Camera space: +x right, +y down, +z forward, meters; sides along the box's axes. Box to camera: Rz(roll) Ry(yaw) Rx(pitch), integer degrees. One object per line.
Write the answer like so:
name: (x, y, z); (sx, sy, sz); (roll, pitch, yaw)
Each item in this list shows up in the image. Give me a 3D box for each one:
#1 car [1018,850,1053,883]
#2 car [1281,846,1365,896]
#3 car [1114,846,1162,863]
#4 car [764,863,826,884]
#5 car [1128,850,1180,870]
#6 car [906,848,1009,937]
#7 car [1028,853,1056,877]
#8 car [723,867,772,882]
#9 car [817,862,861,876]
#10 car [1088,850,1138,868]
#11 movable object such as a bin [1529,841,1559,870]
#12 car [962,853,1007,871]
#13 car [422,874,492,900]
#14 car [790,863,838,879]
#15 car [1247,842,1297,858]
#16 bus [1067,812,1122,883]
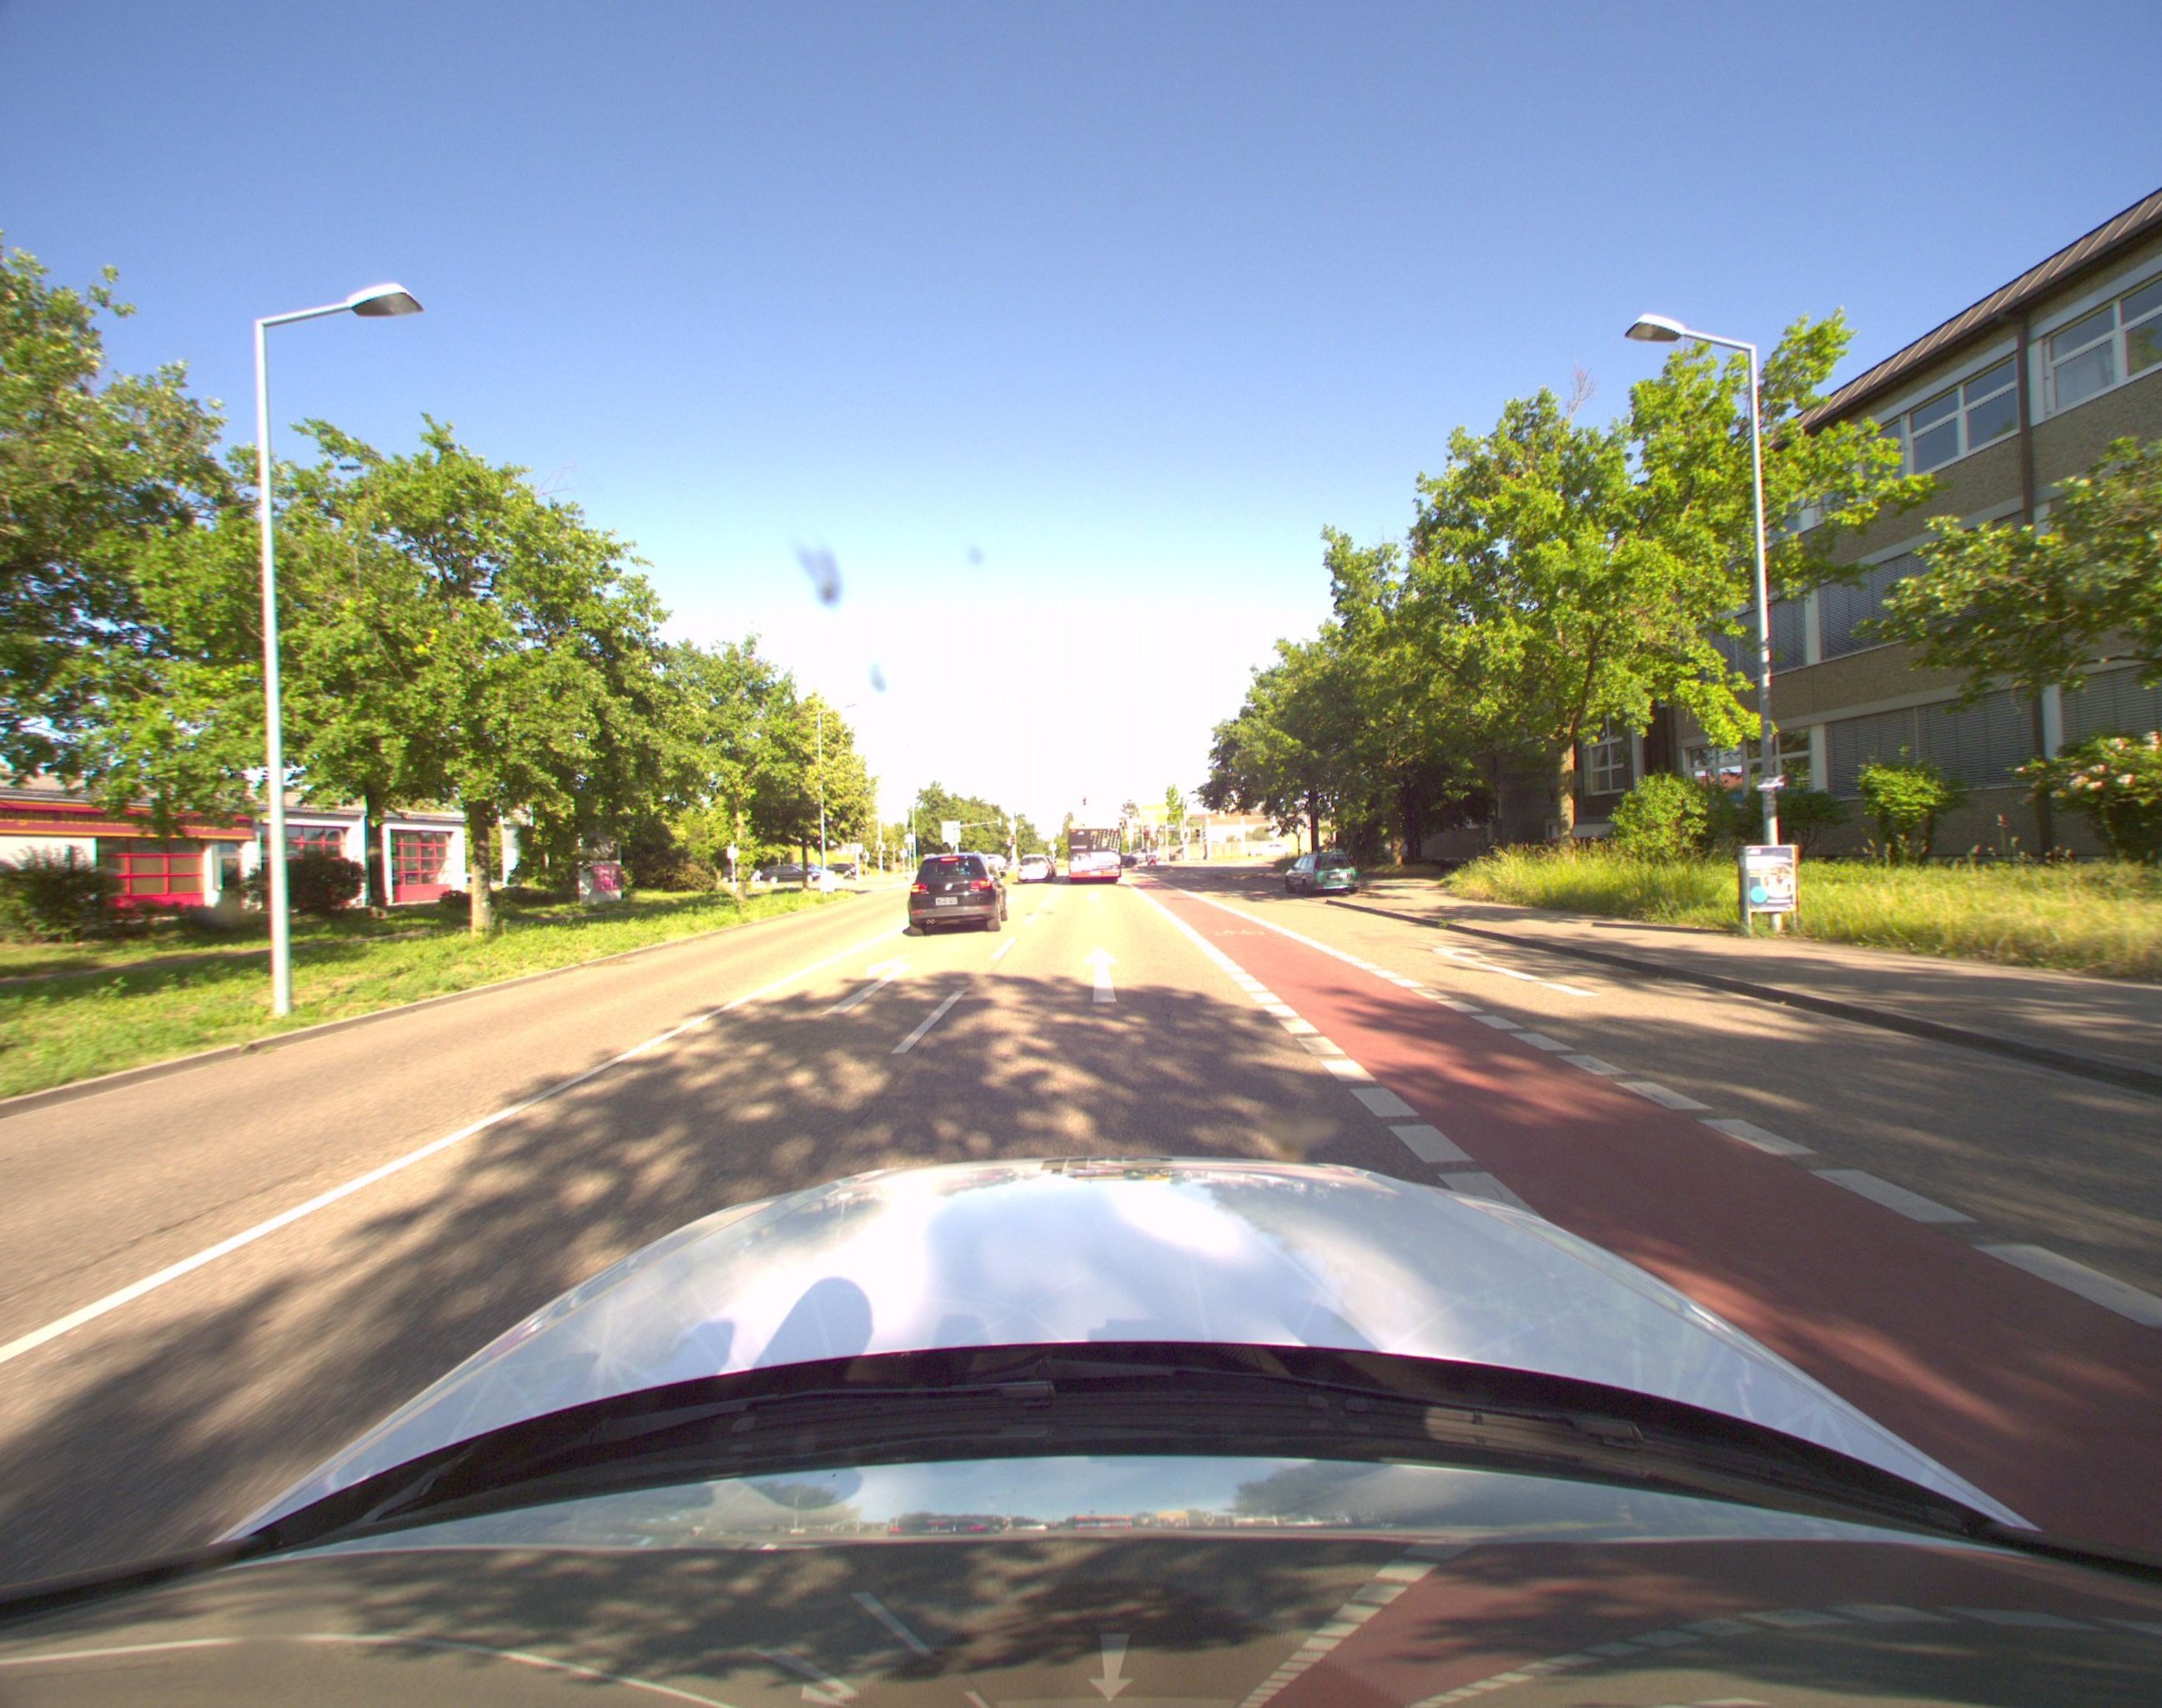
car: (-2.592, 0.670, 45.553); (1.751, 1.620, 4.026); (-2, 1, -5)
car: (7.969, 0.537, 27.156); (1.587, 1.428, 4.205); (-4, 0, 2)
car: (5.824, 0.042, 83.905); (4.695, 1.540, 1.996); (-2, 0, -6)
car: (-23.804, 1.620, 67.863); (4.454, 1.441, 1.680); (-3, 0, -5)
car: (5.172, 0.444, 57.606); (3.501, 1.302, 1.579); (-2, 0, 9)
car: (-2.602, 0.785, 17.948); (1.817, 1.673, 3.997); (-2, -1, -4)
car: (-2.569, 0.713, 54.471); (1.582, 1.485, 3.683); (-2, -1, 1)
car: (-30.165, 1.835, 73.668); (3.844, 1.313, 1.503); (-1, -1, -8)
car: (-23.814, 1.449, 80.145); (3.889, 1.340, 1.678); (-1, -1, -8)
car: (2.740, 0.437, 70.802); (4.213, 1.480, 1.761); (-1, -1, -4)
movable object such as a bin: (16.708, 0.049, 29.376); (0.710, 1.032, 0.581); (-2, 0, 0)
car: (-9.720, 0.804, 81.937); (4.375, 1.683, 1.709); (-1, -1, -4)
car: (-49.422, 2.594, 64.555); (4.116, 1.801, 1.451); (-2, -1, -13)
car: (-24.462, 1.580, 74.674); (3.844, 1.385, 1.678); (-1, -1, -8)
car: (19.973, -0.435, 85.158); (4.692, 1.540, 1.998); (-2, 0, -3)
bus: (0.727, -0.329, 44.910); (2.587, 3.334, 11.984); (-1, 0, 1)
